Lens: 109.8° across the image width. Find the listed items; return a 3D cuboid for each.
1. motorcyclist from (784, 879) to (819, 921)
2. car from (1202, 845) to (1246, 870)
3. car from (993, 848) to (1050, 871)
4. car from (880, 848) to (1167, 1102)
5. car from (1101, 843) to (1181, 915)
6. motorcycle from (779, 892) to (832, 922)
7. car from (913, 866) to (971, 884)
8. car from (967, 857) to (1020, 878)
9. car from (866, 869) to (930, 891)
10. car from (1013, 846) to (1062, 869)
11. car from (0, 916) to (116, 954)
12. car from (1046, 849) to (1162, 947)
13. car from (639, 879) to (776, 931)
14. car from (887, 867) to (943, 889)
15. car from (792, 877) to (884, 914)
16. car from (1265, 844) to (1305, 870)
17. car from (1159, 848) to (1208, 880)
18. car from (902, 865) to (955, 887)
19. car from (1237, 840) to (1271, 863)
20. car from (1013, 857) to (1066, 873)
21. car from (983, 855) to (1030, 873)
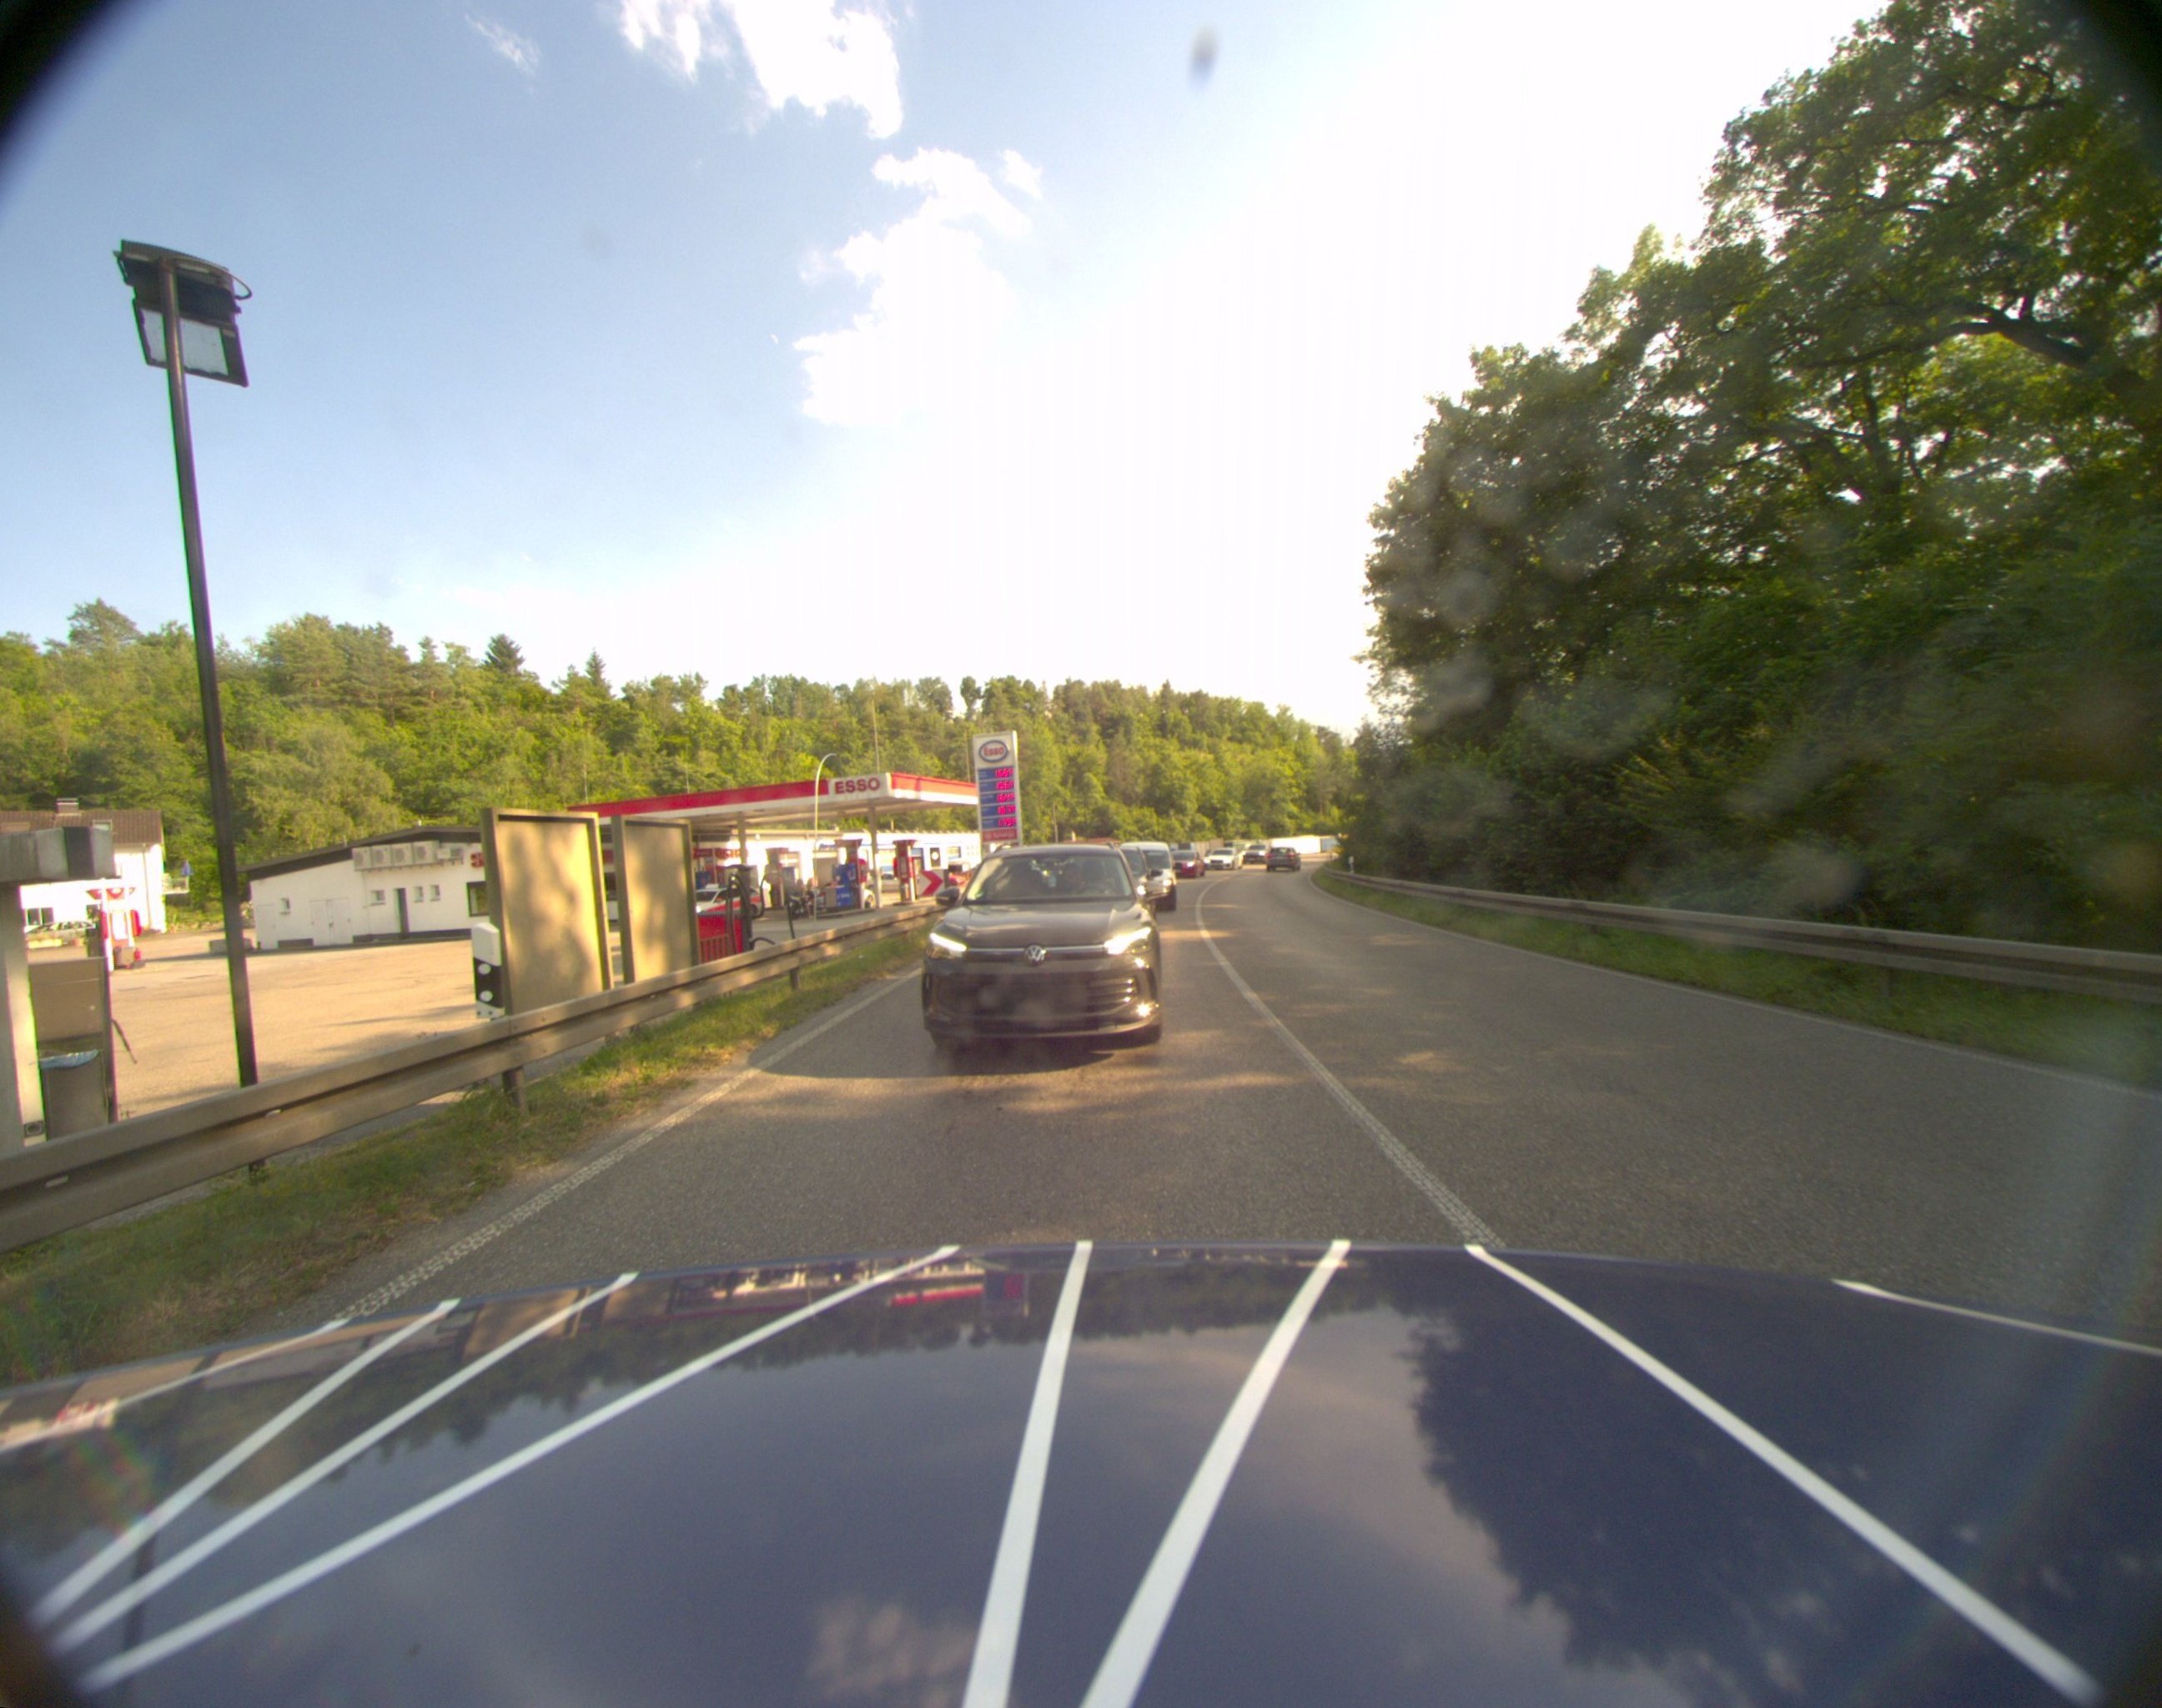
[{"bbox_3d":[-11.357,1.857,30.948,0.859,1.595,0.928,-3,1,14],"label":"motorcyclist"},{"bbox_3d":[9.742,0.202,51.512,1.912,1.457,4.543,-4,0,23],"label":"car"},{"bbox_3d":[-6.319,0.564,81.060,5.481,2.261,2.297,-1,1,15],"label":"car"},{"bbox_3d":[-0.222,0.805,7.274,1.859,1.630,4.442,-2,0,4],"label":"car"},{"bbox_3d":[1.772,0.613,20.958,1.866,1.710,4.766,-1,0,8],"label":"car"},{"bbox_3d":[-11.271,2.156,31.184,0.763,1.006,2.343,-3,1,14],"label":"motorcycle"},{"bbox_3d":[-11.065,1.669,60.506,4.072,1.340,1.896,-1,1,15],"label":"car"},{"bbox_3d":[-7.775,1.178,67.765,4.254,1.719,1.893,-1,1,12],"label":"car"},{"bbox_3d":[-12.918,1.849,53.829,3.963,1.347,1.778,-2,1,11],"label":"car"},{"bbox_3d":[-4.853,0.391,84.620,4.915,2.435,2.209,-2,1,13],"label":"car"},{"bbox_3d":[-65.111,5.101,47.834,2.694,1.826,5.175,-4,0,41],"label":"car"},{"bbox_3d":[0.605,0.732,14.901,1.847,1.561,4.259,-2,1,7],"label":"car"},{"bbox_3d":[-15.085,2.019,31.074,2.095,1.618,5.185,-3,0,14],"label":"car"},{"bbox_3d":[-12.281,1.797,56.319,3.555,1.398,1.692,-3,1,15],"label":"car"},{"bbox_3d":[-10.995,1.868,34.724,1.845,1.311,4.394,-3,0,15],"label":"car"},{"bbox_3d":[12.947,0.191,48.079,1.869,1.555,4.007,-2,-1,23],"label":"car"},{"bbox_3d":[5.536,0.509,40.537,1.857,1.412,4.423,-4,0,17],"label":"car"},{"bbox_3d":[-11.725,1.671,58.475,3.549,1.437,1.735,-3,1,15],"label":"car"},{"bbox_3d":[14.174,-0.225,62.072,1.857,1.587,4.543,-4,0,23],"label":"car"},{"bbox_3d":[-3.994,1.077,73.506,4.727,1.426,1.959,-1,1,13],"label":"car"},{"bbox_3d":[-7.532,0.996,76.456,4.246,1.601,1.896,-2,1,15],"label":"car"}]
